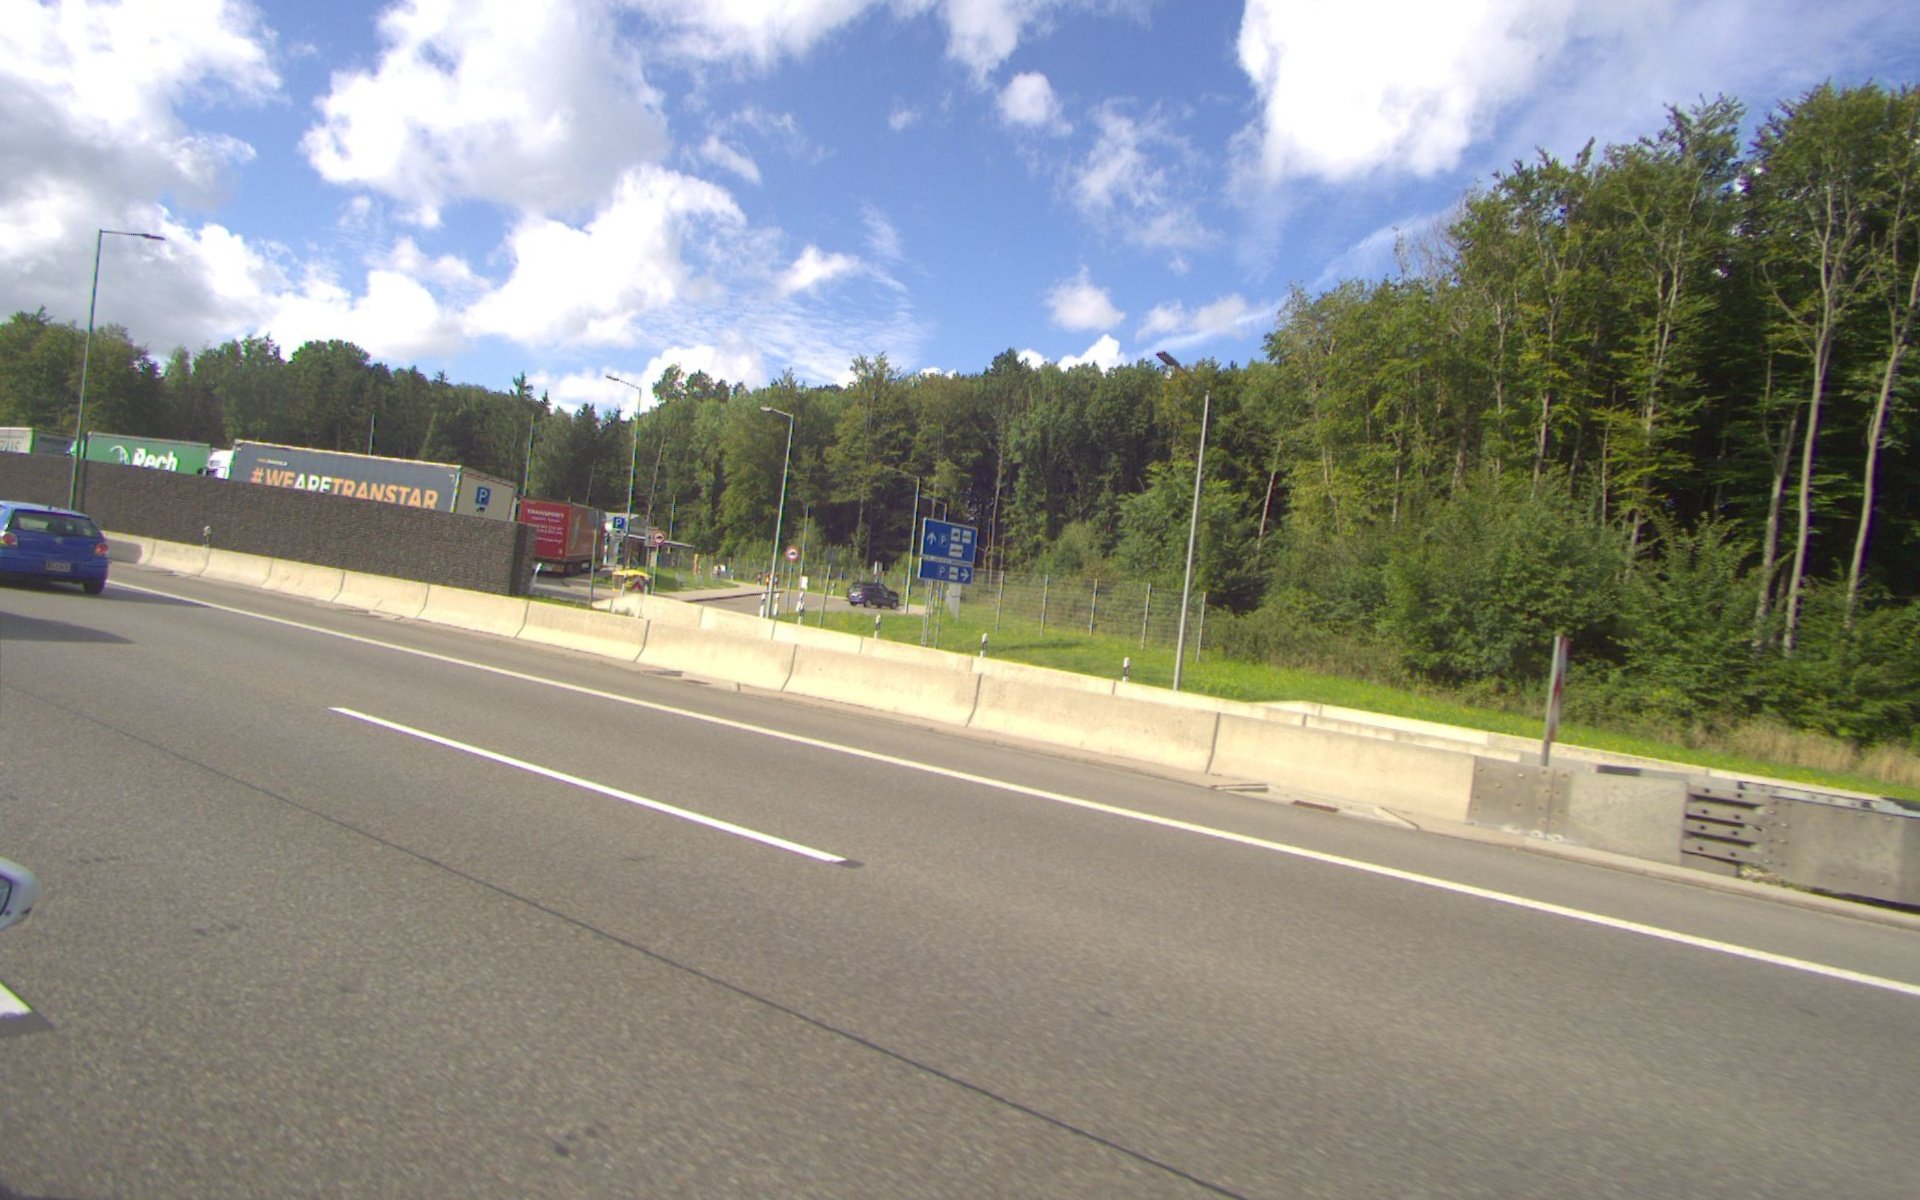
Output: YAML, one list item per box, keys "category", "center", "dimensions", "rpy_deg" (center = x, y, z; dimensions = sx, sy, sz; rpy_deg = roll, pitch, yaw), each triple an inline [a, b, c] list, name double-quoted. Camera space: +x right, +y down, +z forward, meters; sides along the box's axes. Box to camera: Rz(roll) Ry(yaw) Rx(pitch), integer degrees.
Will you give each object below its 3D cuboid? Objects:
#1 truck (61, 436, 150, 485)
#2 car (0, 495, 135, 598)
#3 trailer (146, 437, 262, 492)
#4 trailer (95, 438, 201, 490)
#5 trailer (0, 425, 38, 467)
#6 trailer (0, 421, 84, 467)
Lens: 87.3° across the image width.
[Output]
- category: "truck"
  center: [-43.994, -7.120, 51.777]
  dimensions: [4.704, 2.037, 2.049]
  rpy_deg: [5, -3, 33]
- category: "car"
  center: [-16.800, -1.032, 17.916]
  dimensions: [4.228, 1.529, 1.718]
  rpy_deg: [6, -1, 29]
- category: "trailer"
  center: [-34.680, -6.178, 46.089]
  dimensions: [6.091, 2.037, 1.997]
  rpy_deg: [5, -3, 31]
- category: "trailer"
  center: [-39.628, -6.596, 49.071]
  dimensions: [5.680, 2.037, 1.998]
  rpy_deg: [5, -3, 31]
- category: "trailer"
  center: [-57.568, -9.175, 60.051]
  dimensions: [5.907, 2.037, 2.049]
  rpy_deg: [5, -3, 31]
- category: "trailer"
  center: [-52.130, -8.742, 56.726]
  dimensions: [6.850, 2.037, 2.055]
  rpy_deg: [5, -3, 31]
